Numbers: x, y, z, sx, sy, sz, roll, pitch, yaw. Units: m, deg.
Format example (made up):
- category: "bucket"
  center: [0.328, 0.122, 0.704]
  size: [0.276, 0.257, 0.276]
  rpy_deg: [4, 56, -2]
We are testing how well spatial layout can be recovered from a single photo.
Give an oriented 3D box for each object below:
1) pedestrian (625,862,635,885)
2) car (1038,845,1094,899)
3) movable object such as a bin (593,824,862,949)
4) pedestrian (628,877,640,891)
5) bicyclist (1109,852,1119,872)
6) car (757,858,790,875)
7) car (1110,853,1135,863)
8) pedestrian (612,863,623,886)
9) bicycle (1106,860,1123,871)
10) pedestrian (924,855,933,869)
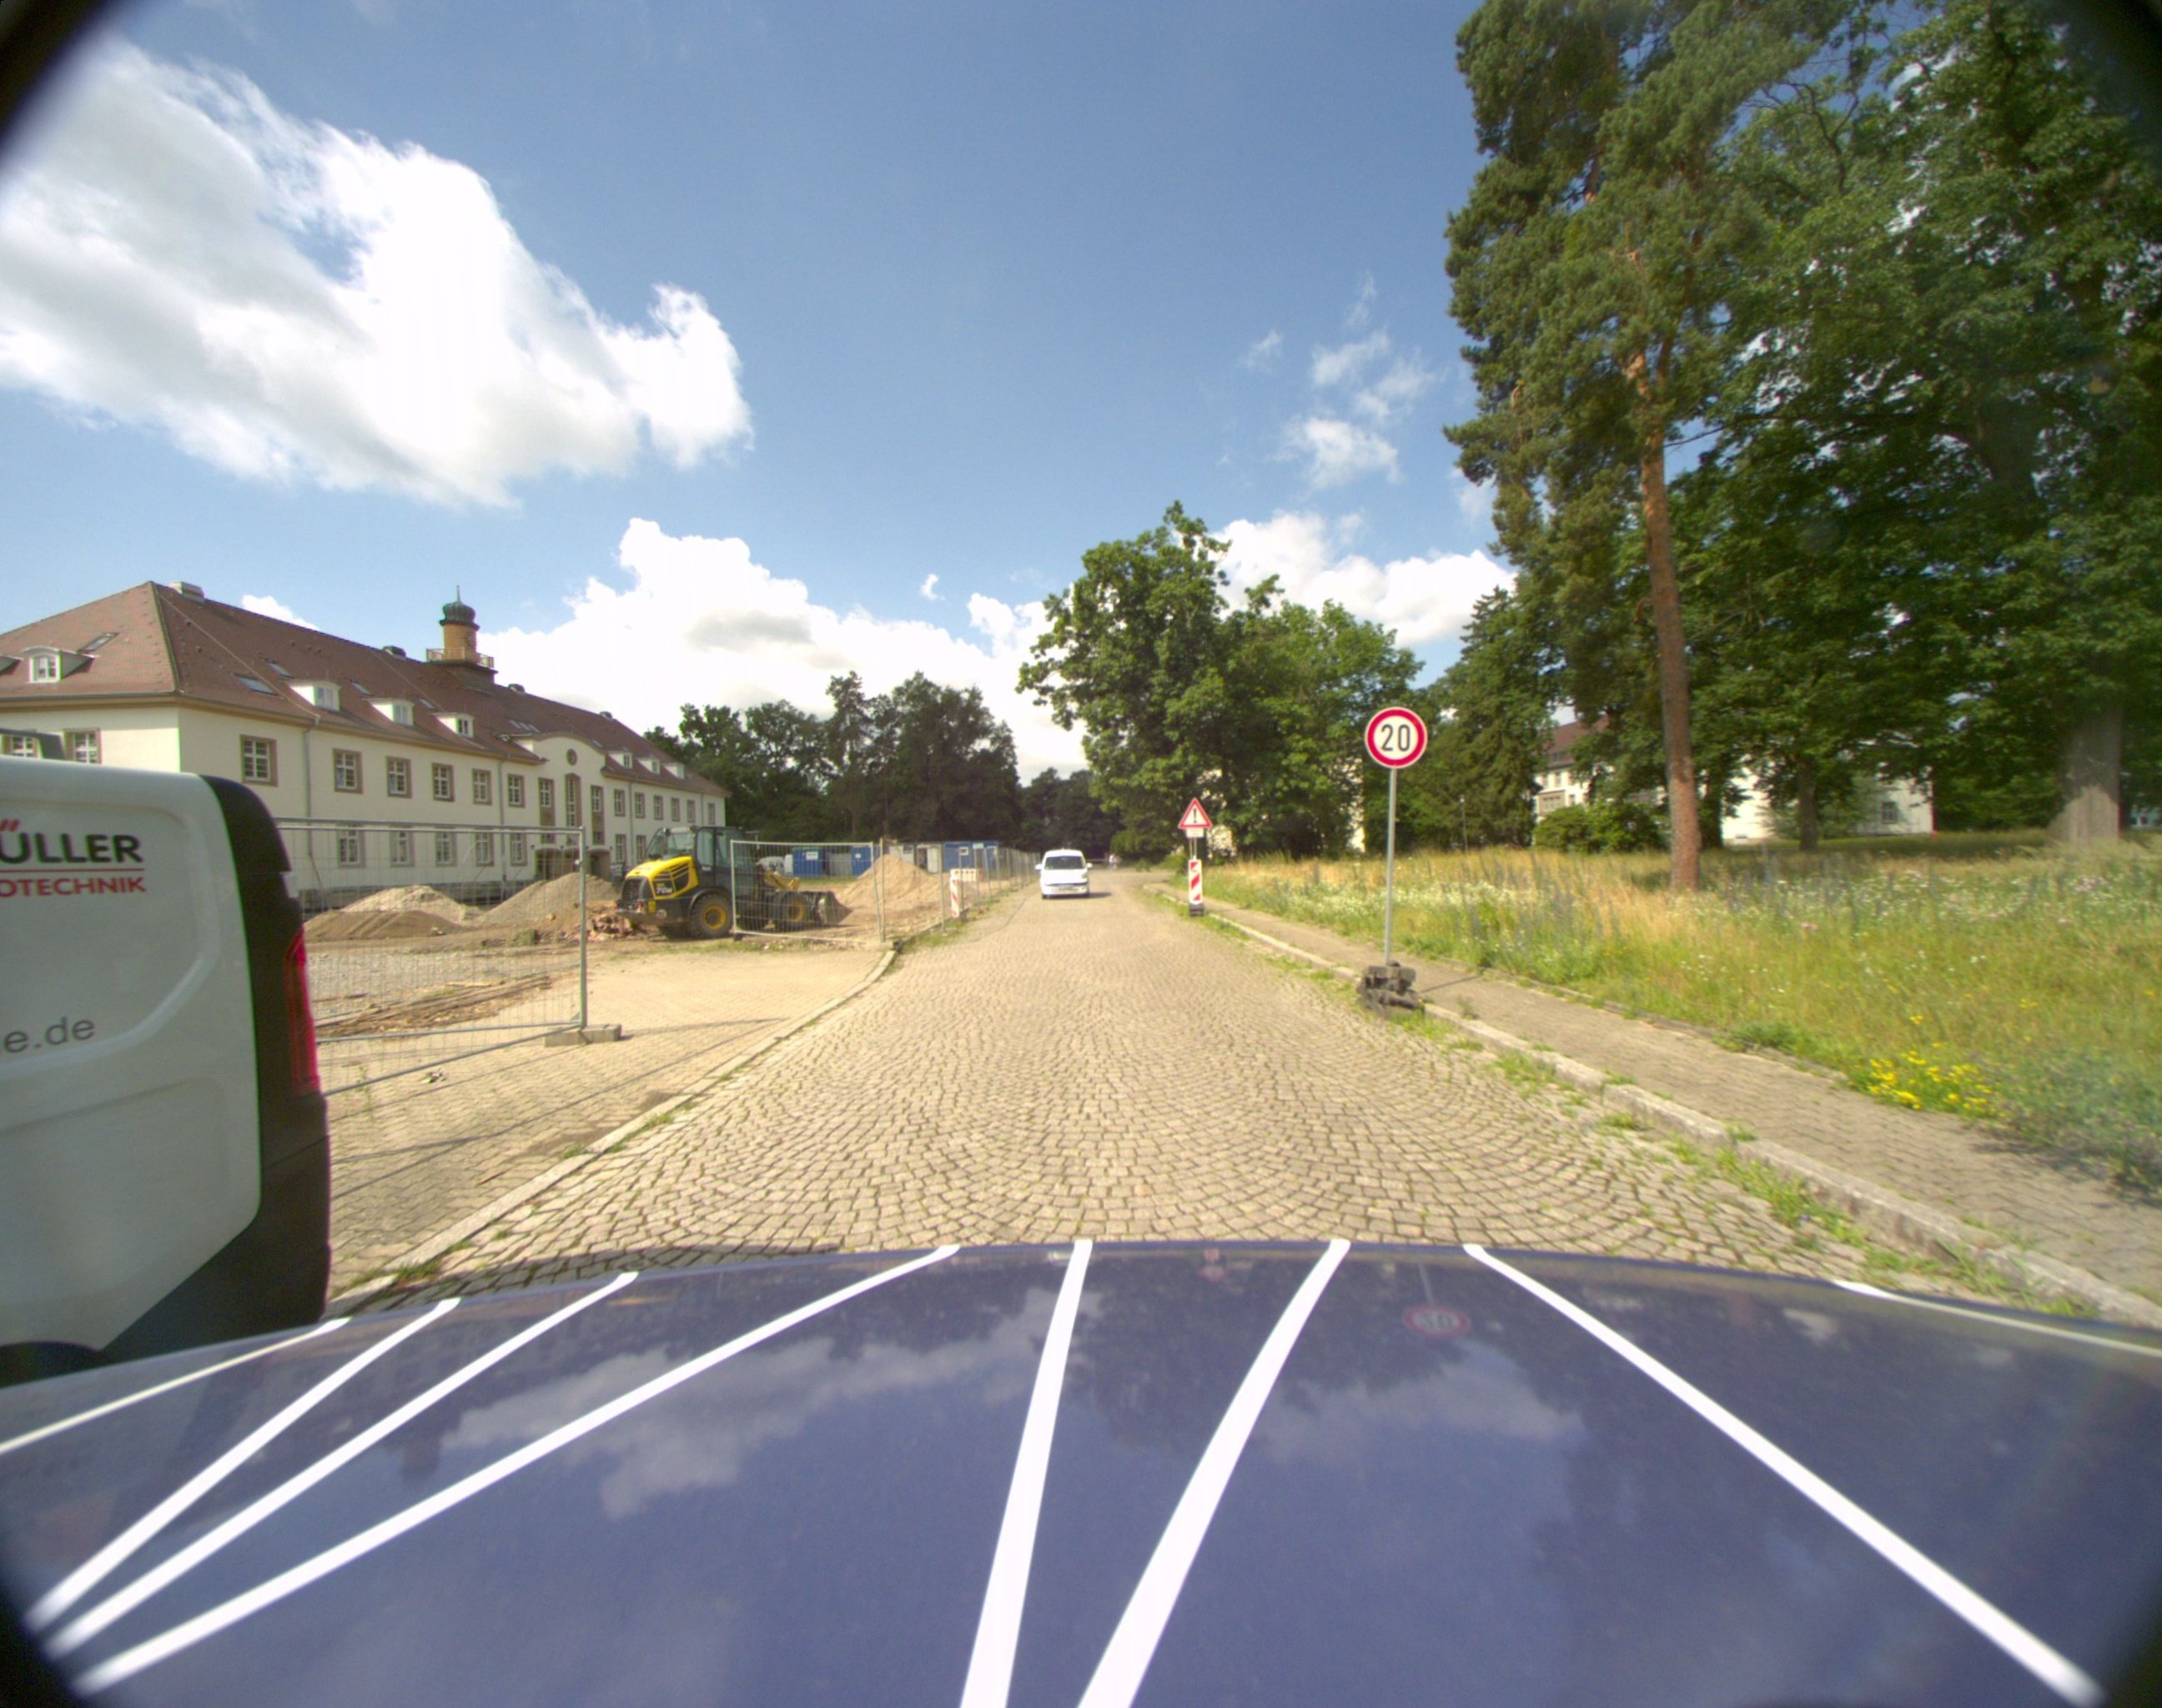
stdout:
- category: "pedestrian"
  center: [-36.705, 1.586, 61.817]
  size: [0.491, 1.777, 0.506]
  rpy_deg: [-2, 1, -3]
- category: "car"
  center: [-0.665, 0.671, 29.422]
  size: [1.840, 1.857, 4.829]
  rpy_deg: [-2, -1, -4]
- category: "movable object such as a bin"
  center: [-8.124, 0.673, 18.228]
  size: [2.144, 2.507, 5.667]
  rpy_deg: [-1, 0, 28]
- category: "pedestrian"
  center: [-35.410, 2.362, 60.166]
  size: [0.491, 1.108, 0.709]
  rpy_deg: [-2, 0, -2]
- category: "bicyclist"
  center: [3.037, 0.716, 69.701]
  size: [0.569, 1.760, 0.636]
  rpy_deg: [-2, 1, 45]
- category: "car"
  center: [-32.258, 1.302, 79.812]
  size: [1.802, 1.674, 4.039]
  rpy_deg: [-2, 0, 1]
- category: "car"
  center: [6.976, 0.688, 127.925]
  size: [4.084, 1.634, 1.767]
  rpy_deg: [-2, 1, -1]
- category: "pedestrian"
  center: [-36.799, 1.597, 60.360]
  size: [0.490, 1.777, 0.507]
  rpy_deg: [-2, 1, 22]
- category: "bicycle"
  center: [3.053, 1.078, 69.699]
  size: [1.553, 0.990, 0.636]
  rpy_deg: [-2, 1, 45]
- category: "pedestrian"
  center: [-13.854, 0.721, 69.005]
  size: [0.602, 1.235, 0.682]
  rpy_deg: [-2, 0, -2]
